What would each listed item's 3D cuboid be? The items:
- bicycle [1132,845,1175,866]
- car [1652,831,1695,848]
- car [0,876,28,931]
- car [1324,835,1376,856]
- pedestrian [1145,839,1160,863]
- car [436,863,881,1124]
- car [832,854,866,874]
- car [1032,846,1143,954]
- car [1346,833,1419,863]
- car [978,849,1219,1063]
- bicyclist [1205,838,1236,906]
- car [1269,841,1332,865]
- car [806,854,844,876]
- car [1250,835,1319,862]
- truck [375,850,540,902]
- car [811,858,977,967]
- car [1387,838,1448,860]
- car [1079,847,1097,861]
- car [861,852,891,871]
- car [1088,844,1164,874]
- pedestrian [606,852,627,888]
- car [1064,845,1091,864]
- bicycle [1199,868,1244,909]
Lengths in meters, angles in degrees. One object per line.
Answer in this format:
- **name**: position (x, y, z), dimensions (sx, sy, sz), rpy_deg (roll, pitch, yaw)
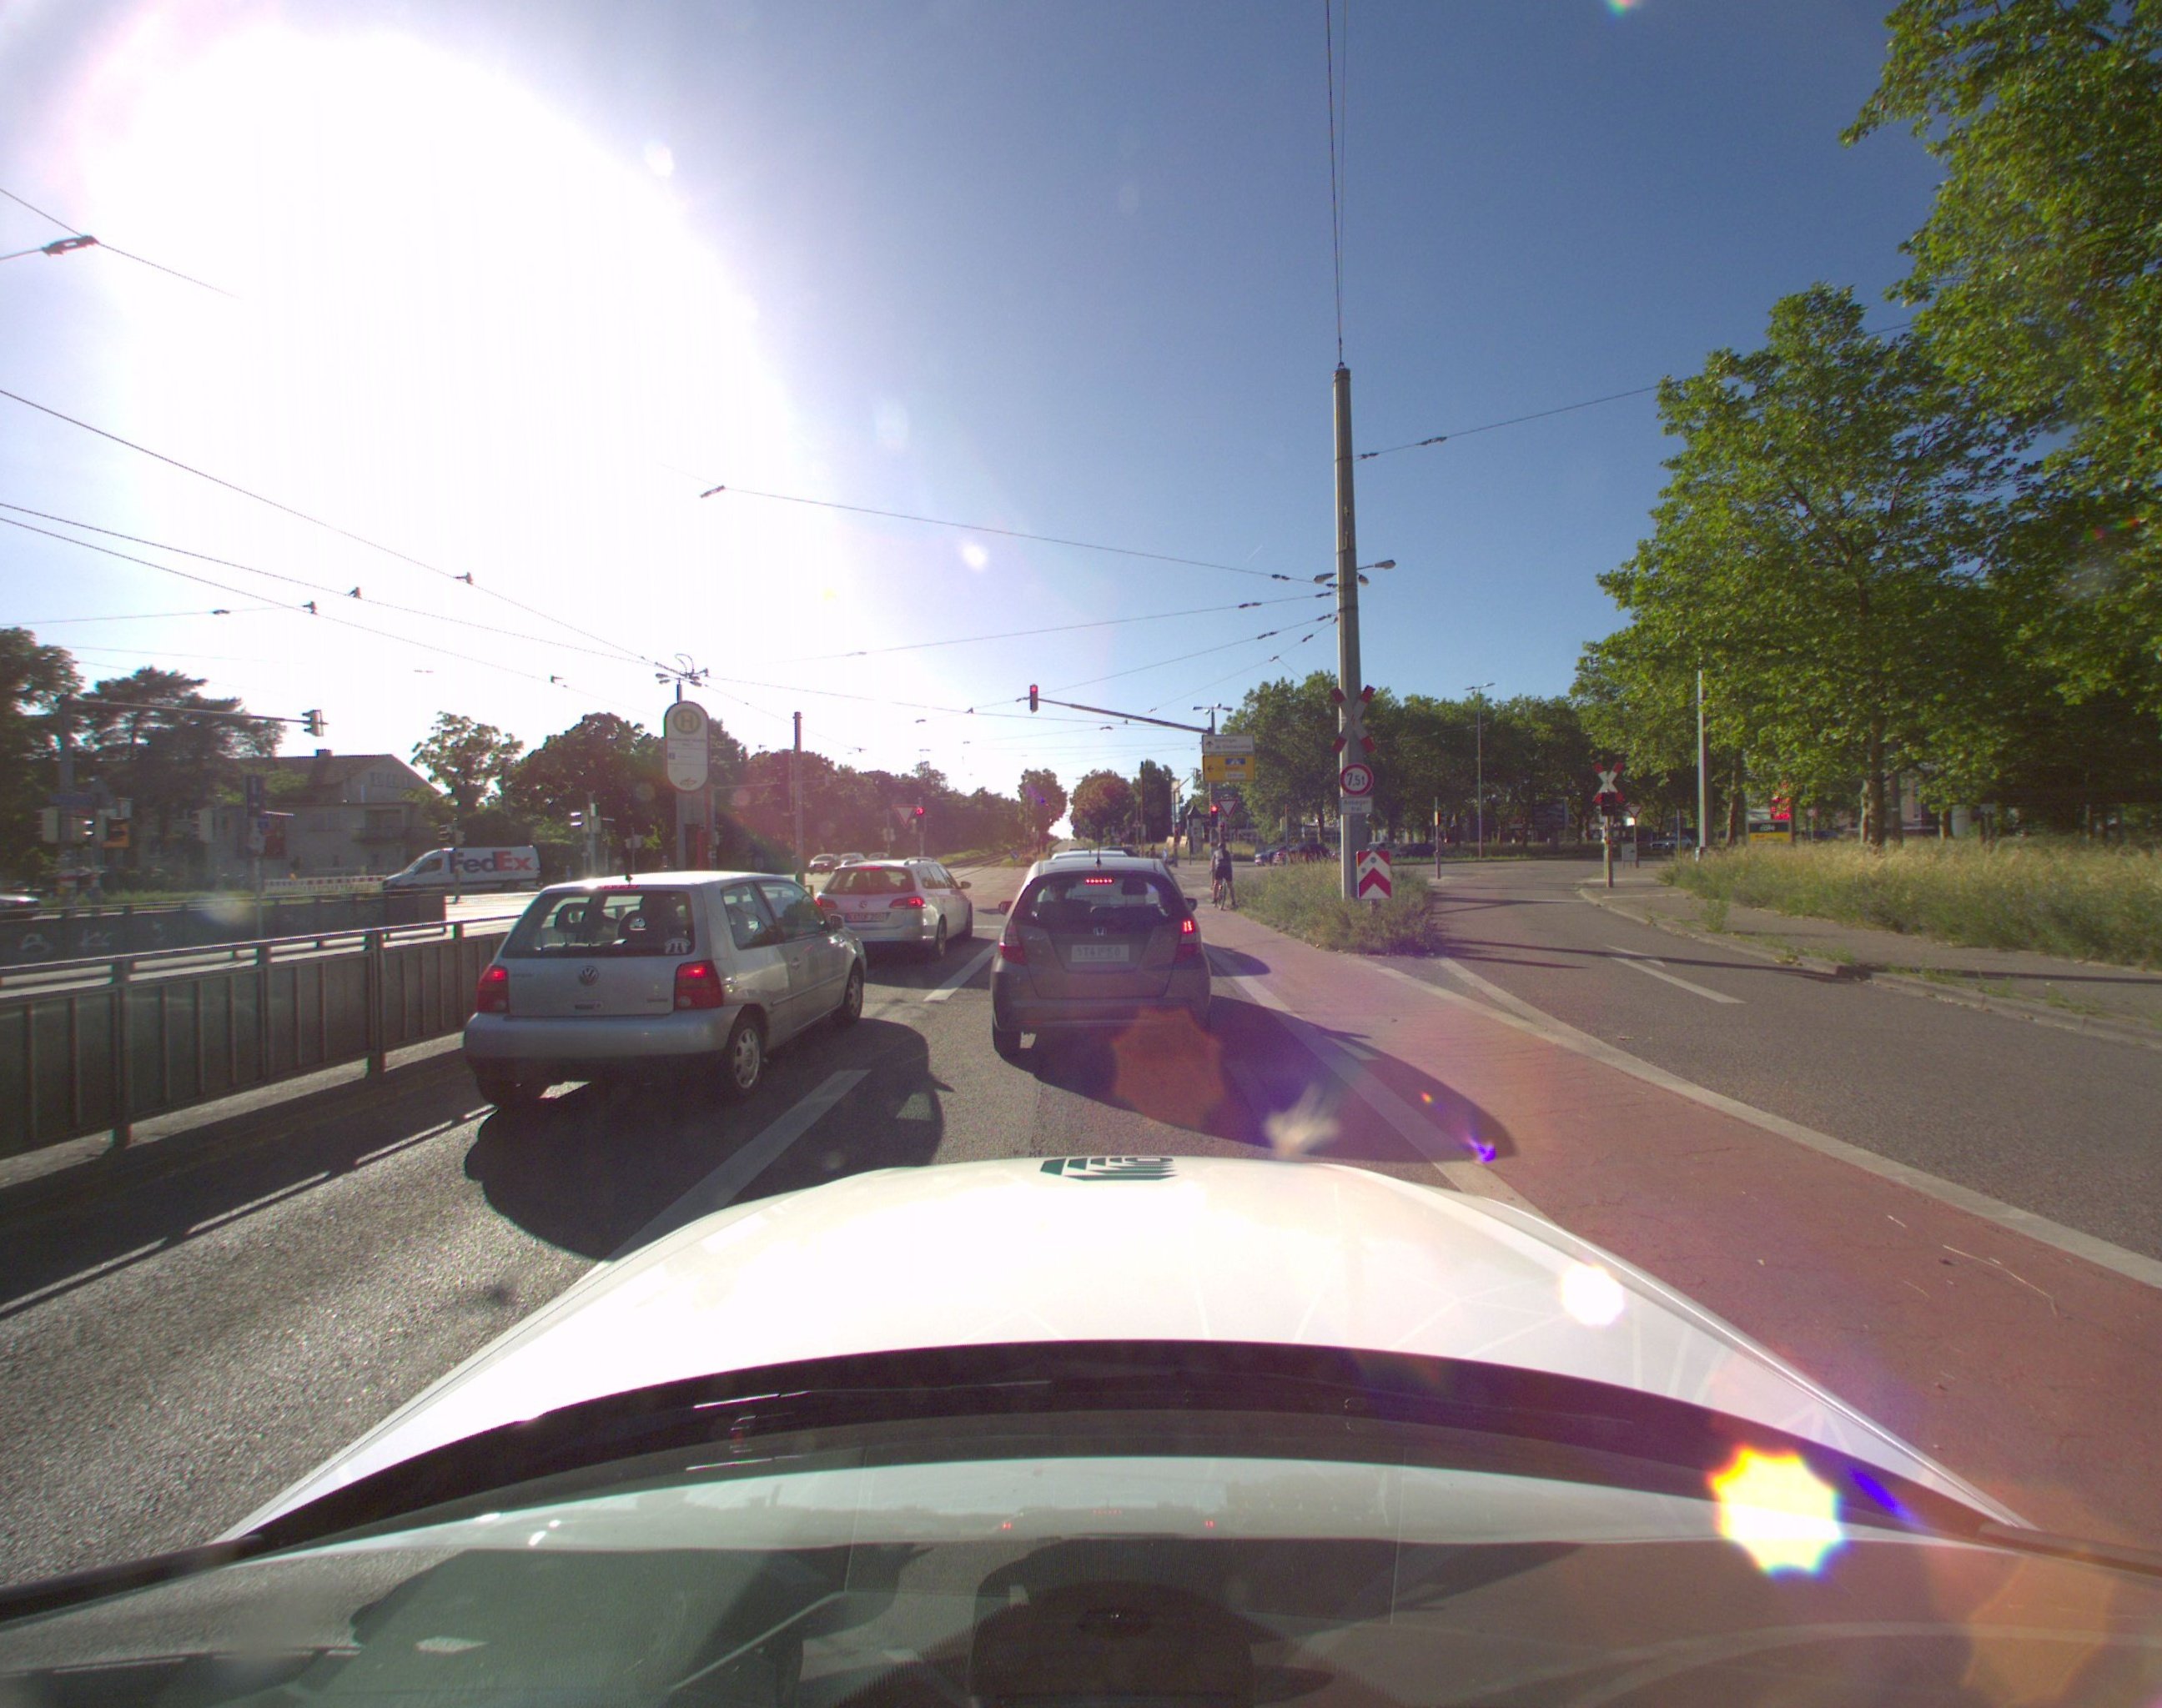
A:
- **bicycle**: position (5.613, 0.119, 62.947), dimensions (3.218, 1.574, 0.815), rpy_deg (-2, 0, -24)
- **car**: position (57.903, -1.422, 79.542), dimensions (4.006, 1.501, 1.580), rpy_deg (-2, 0, -24)
- **car**: position (-32.024, 1.440, 21.488), dimensions (4.844, 1.497, 1.771), rpy_deg (-2, 0, -25)
- **car**: position (20.757, -0.652, 62.808), dimensions (3.757, 1.570, 1.480), rpy_deg (-2, 0, -21)
- **pedestrian**: position (5.548, -0.247, 62.936), dimensions (0.856, 1.836, 0.784), rpy_deg (-2, 0, -24)
- **car**: position (-2.825, 0.815, 6.327), dimensions (1.613, 1.417, 3.352), rpy_deg (-2, 0, 1)
- **car**: position (-18.915, 0.820, 66.490), dimensions (1.829, 1.548, 4.277), rpy_deg (-2, 0, -5)
- **car**: position (0.149, 0.678, 14.124), dimensions (1.605, 1.562, 4.289), rpy_deg (-1, 0, 1)
- **car**: position (21.957, -0.446, 59.243), dimensions (4.906, 2.013, 1.986), rpy_deg (-2, 0, -22)
- **car**: position (0.112, 0.706, 7.485), dimensions (1.663, 1.462, 3.585), rpy_deg (-1, 0, -1)
- **bicyclist**: position (3.634, 0.459, 21.218), dimensions (0.663, 1.716, 0.948), rpy_deg (0, -1, 1)
- **car**: position (15.018, -0.085, 55.785), dimensions (4.002, 1.531, 1.594), rpy_deg (-2, 0, -22)
- **car**: position (-19.017, 0.811, 60.697), dimensions (1.829, 1.548, 3.993), rpy_deg (-2, 0, -5)
- **car**: position (15.029, -0.374, 60.078), dimensions (4.705, 1.879, 1.986), rpy_deg (0, -1, -22)
- **truck**: position (-34.118, 1.124, 44.848), dimensions (1.974, 2.565, 6.867), rpy_deg (-1, 0, 36)
- **car**: position (-2.775, 0.797, 12.975), dimensions (1.613, 1.457, 4.086), rpy_deg (-1, 0, 1)
- **car**: position (26.885, -0.411, 65.045), dimensions (4.526, 1.574, 1.681), rpy_deg (-2, 0, -21)
- **car**: position (0.678, -0.005, 81.851), dimensions (1.519, 1.378, 3.672), rpy_deg (-2, 0, -3)
- **car**: position (-18.782, 0.676, 74.746), dimensions (1.991, 1.604, 4.745), rpy_deg (0, 0, -6)
- **car**: position (2.563, 0.252, 45.878), dimensions (3.993, 1.544, 1.578), rpy_deg (-2, 0, -28)
- **pedestrian**: position (-26.532, 0.926, 46.542), dimensions (0.748, 2.013, 0.788), rpy_deg (-2, 0, -11)
- **car**: position (-0.249, 0.040, 65.484), dimensions (1.701, 1.478, 4.008), rpy_deg (-2, 0, 7)
- **bicycle**: position (3.635, 0.865, 21.295), dimensions (0.719, 0.989, 2.876), rpy_deg (0, 0, 1)
